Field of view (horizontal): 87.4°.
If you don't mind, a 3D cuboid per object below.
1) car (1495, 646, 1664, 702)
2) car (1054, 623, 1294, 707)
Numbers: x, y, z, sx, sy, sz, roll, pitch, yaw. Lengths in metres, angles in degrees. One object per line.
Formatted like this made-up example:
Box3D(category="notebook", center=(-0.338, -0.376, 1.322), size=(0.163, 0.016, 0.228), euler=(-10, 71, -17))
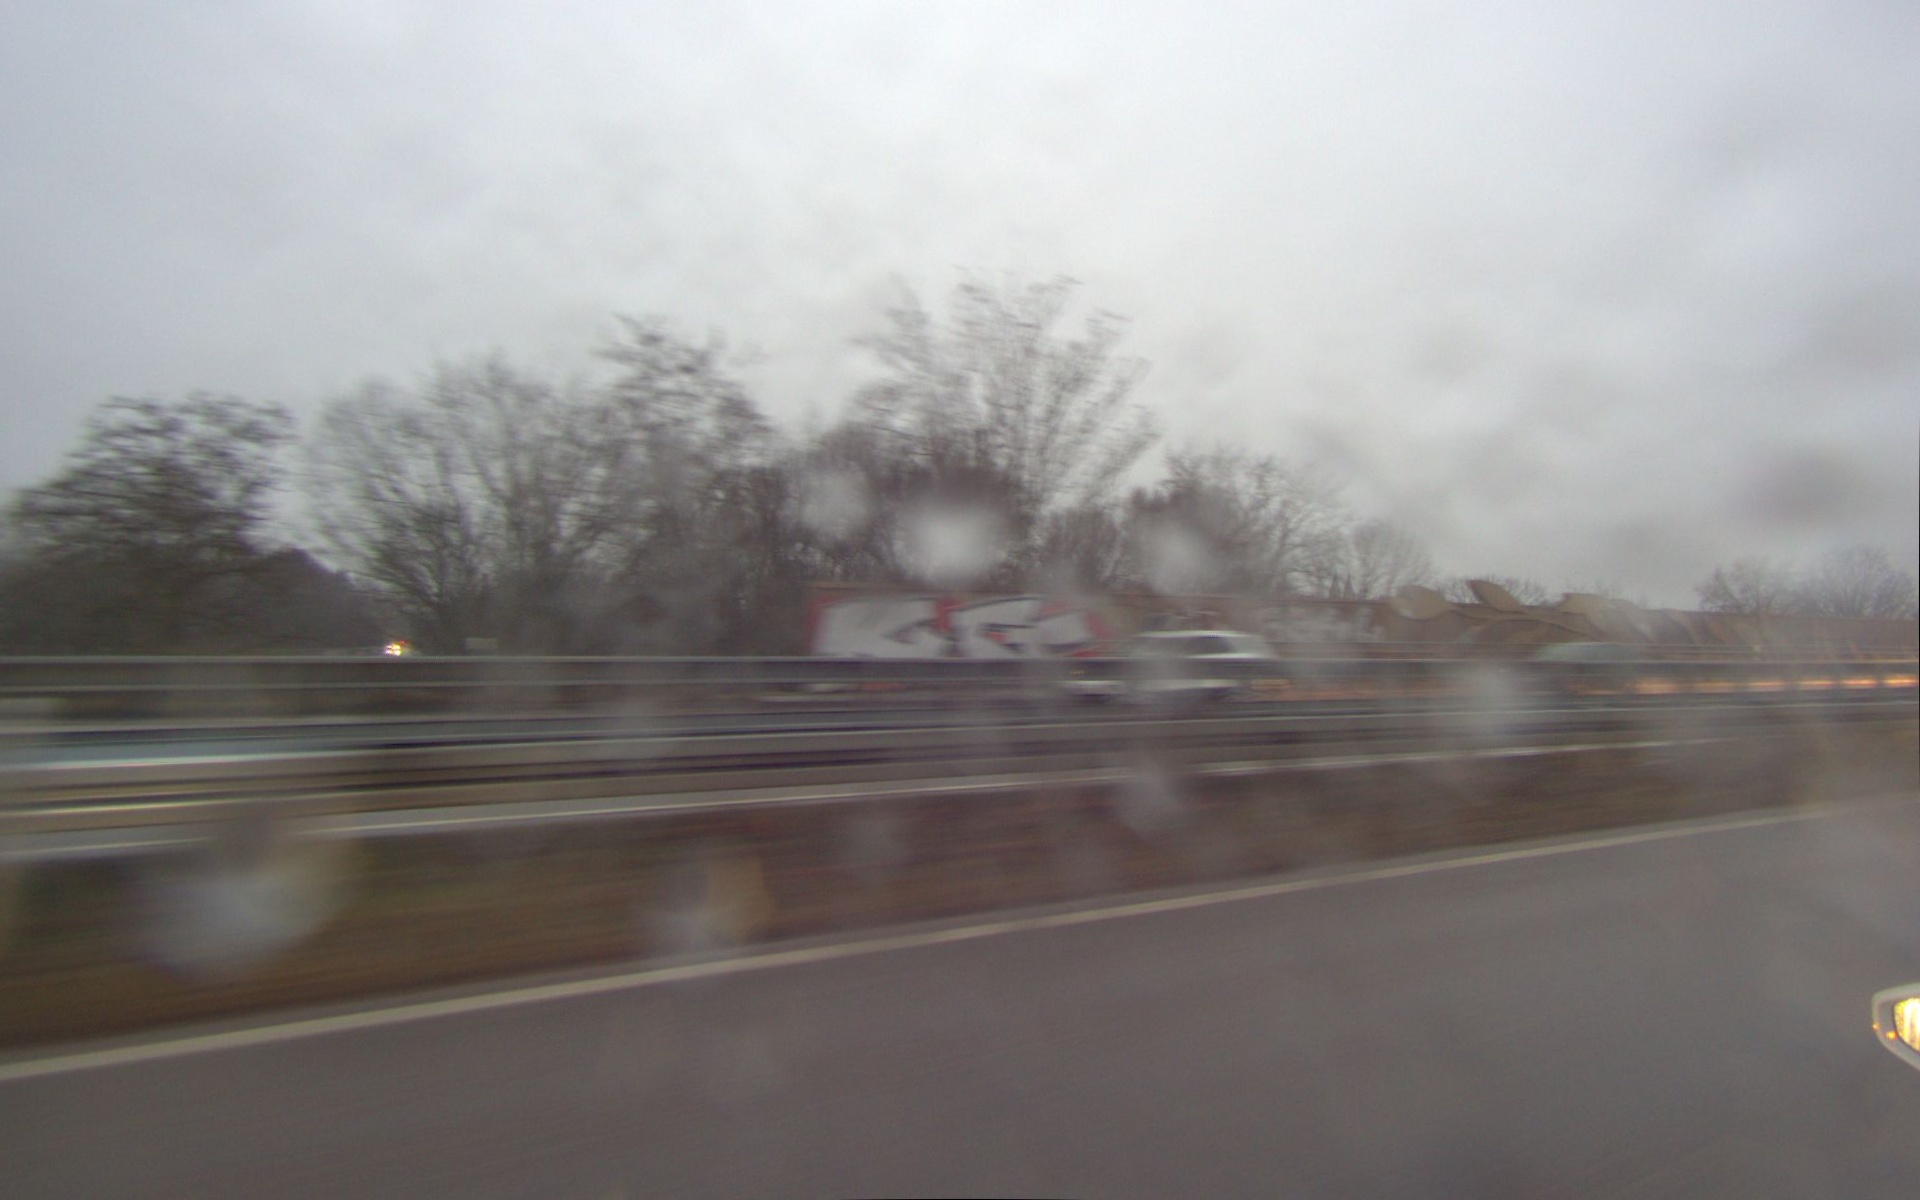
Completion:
Box3D(category="car", center=(17.274, 2.020, 28.010), size=(4.244, 1.422, 1.784), euler=(1, -1, -20))
Box3D(category="car", center=(4.473, 1.335, 21.096), size=(4.606, 1.583, 1.839), euler=(1, 0, -17))
